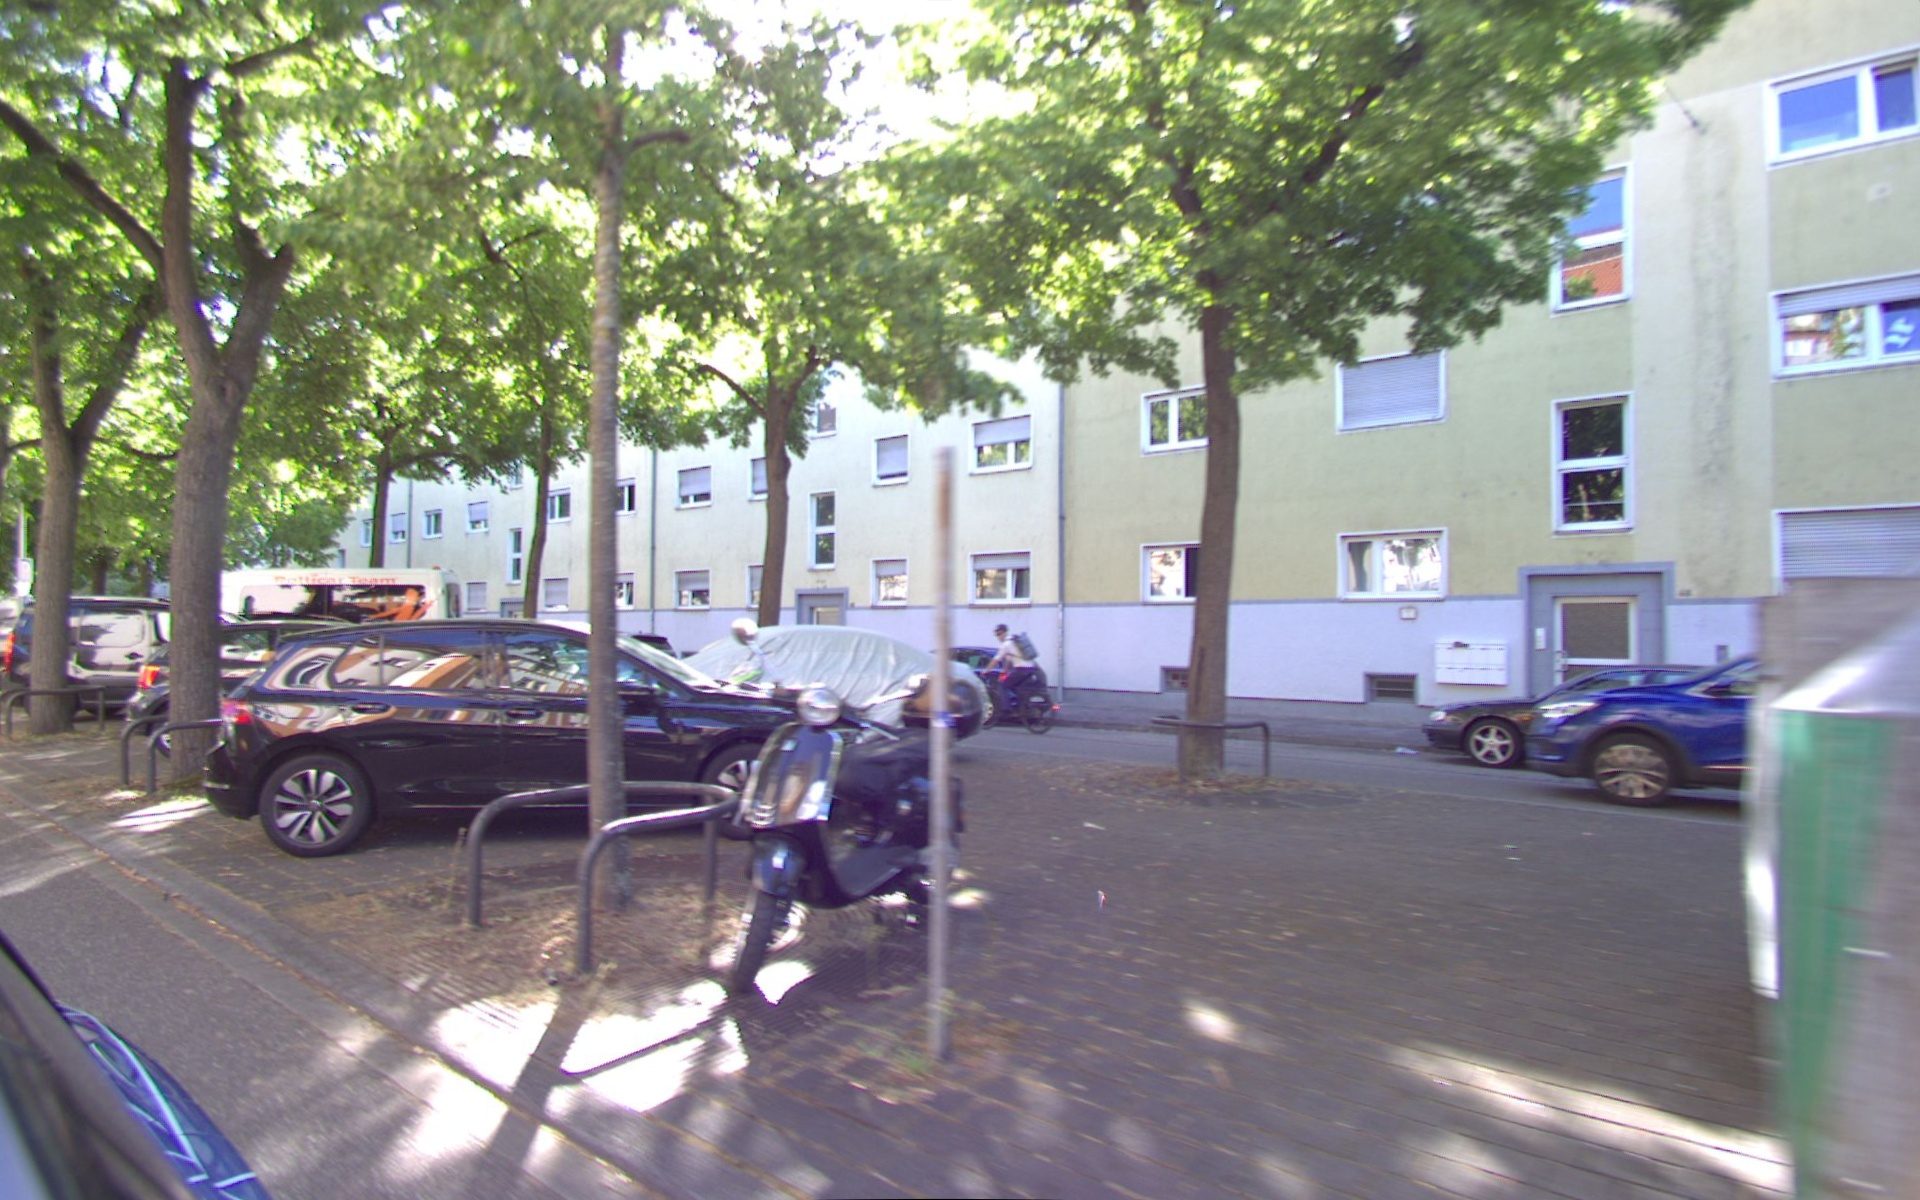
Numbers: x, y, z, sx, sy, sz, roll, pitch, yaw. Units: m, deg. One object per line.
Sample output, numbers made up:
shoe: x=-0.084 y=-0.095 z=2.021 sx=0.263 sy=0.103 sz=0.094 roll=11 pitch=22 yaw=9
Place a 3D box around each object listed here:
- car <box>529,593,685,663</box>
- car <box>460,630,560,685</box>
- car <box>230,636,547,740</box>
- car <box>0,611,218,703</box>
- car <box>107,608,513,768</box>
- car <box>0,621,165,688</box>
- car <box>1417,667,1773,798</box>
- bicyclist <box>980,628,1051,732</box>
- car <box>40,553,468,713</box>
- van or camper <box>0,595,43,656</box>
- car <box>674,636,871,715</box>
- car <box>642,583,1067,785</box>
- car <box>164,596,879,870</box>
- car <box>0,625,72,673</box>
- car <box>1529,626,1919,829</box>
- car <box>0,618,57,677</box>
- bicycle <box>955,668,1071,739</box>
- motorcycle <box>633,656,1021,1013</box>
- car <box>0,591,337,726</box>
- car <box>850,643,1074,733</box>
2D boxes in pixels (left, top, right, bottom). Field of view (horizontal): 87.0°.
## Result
car: x=-9.546 y=0.782 z=27.230 sx=4.551 sy=1.736 sz=1.725 roll=-2 pitch=-4 yaw=38
car: x=-13.748 y=1.719 z=30.869 sx=3.179 sy=1.571 sz=1.460 roll=-2 pitch=-1 yaw=38
car: x=-7.494 y=1.131 z=13.667 sx=3.506 sy=1.257 sz=1.663 roll=1 pitch=-2 yaw=-21
car: x=-17.393 y=1.087 z=19.921 sx=4.202 sy=1.654 sz=1.660 roll=-1 pitch=-1 yaw=-19
car: x=-7.147 y=0.914 z=11.600 sx=3.673 sy=1.594 sz=1.642 roll=1 pitch=-2 yaw=-23
car: x=-21.601 y=1.256 z=23.934 sx=4.038 sy=1.492 sz=1.737 roll=1 pitch=-1 yaw=-20
car: x=7.927 y=1.569 z=12.808 sx=3.637 sy=1.331 sz=1.569 roll=-1 pitch=-5 yaw=39
bicyclist: x=0.910 y=1.271 z=16.507 sx=0.927 sy=1.634 sz=0.708 roll=-1 pitch=-3 yaw=38
car: x=-12.656 y=0.681 z=18.813 sx=5.980 sy=2.643 sz=2.463 roll=2 pitch=-4 yaw=-18
van or camper: x=-47.320 y=1.203 z=47.257 sx=6.197 sy=2.846 sz=2.415 roll=0 pitch=-1 yaw=-22
car: x=-4.268 y=1.612 z=22.608 sx=4.586 sy=1.528 sz=1.755 roll=-2 pitch=-1 yaw=39
car: x=-1.097 y=0.745 z=10.884 sx=4.033 sy=1.477 sz=1.873 roll=-6 pitch=3 yaw=-29
car: x=-2.700 y=0.817 z=7.063 sx=4.087 sy=1.566 sz=1.837 roll=1 pitch=-2 yaw=-9
car: x=-31.640 y=1.577 z=32.367 sx=4.548 sy=1.497 sz=1.767 roll=0 pitch=-1 yaw=-26
car: x=7.450 y=1.060 z=9.084 sx=3.988 sy=1.593 sz=1.734 roll=-1 pitch=-4 yaw=33
car: x=-27.746 y=1.338 z=28.096 sx=3.630 sy=1.608 sz=1.778 roll=0 pitch=-1 yaw=-26
bicycle: x=0.846 y=1.647 z=16.461 sx=1.912 sy=1.042 sz=0.594 roll=-1 pitch=-3 yaw=39
motorcycle: x=-0.447 y=0.843 z=4.379 sx=0.517 sy=1.180 sz=1.922 roll=-1 pitch=-3 yaw=34
car: x=-12.039 y=0.863 z=15.577 sx=3.785 sy=1.903 sz=1.849 roll=0 pitch=-2 yaw=-16
car: x=-0.013 y=1.619 z=19.637 sx=4.138 sy=1.506 sz=1.757 roll=-1 pitch=-2 yaw=37
